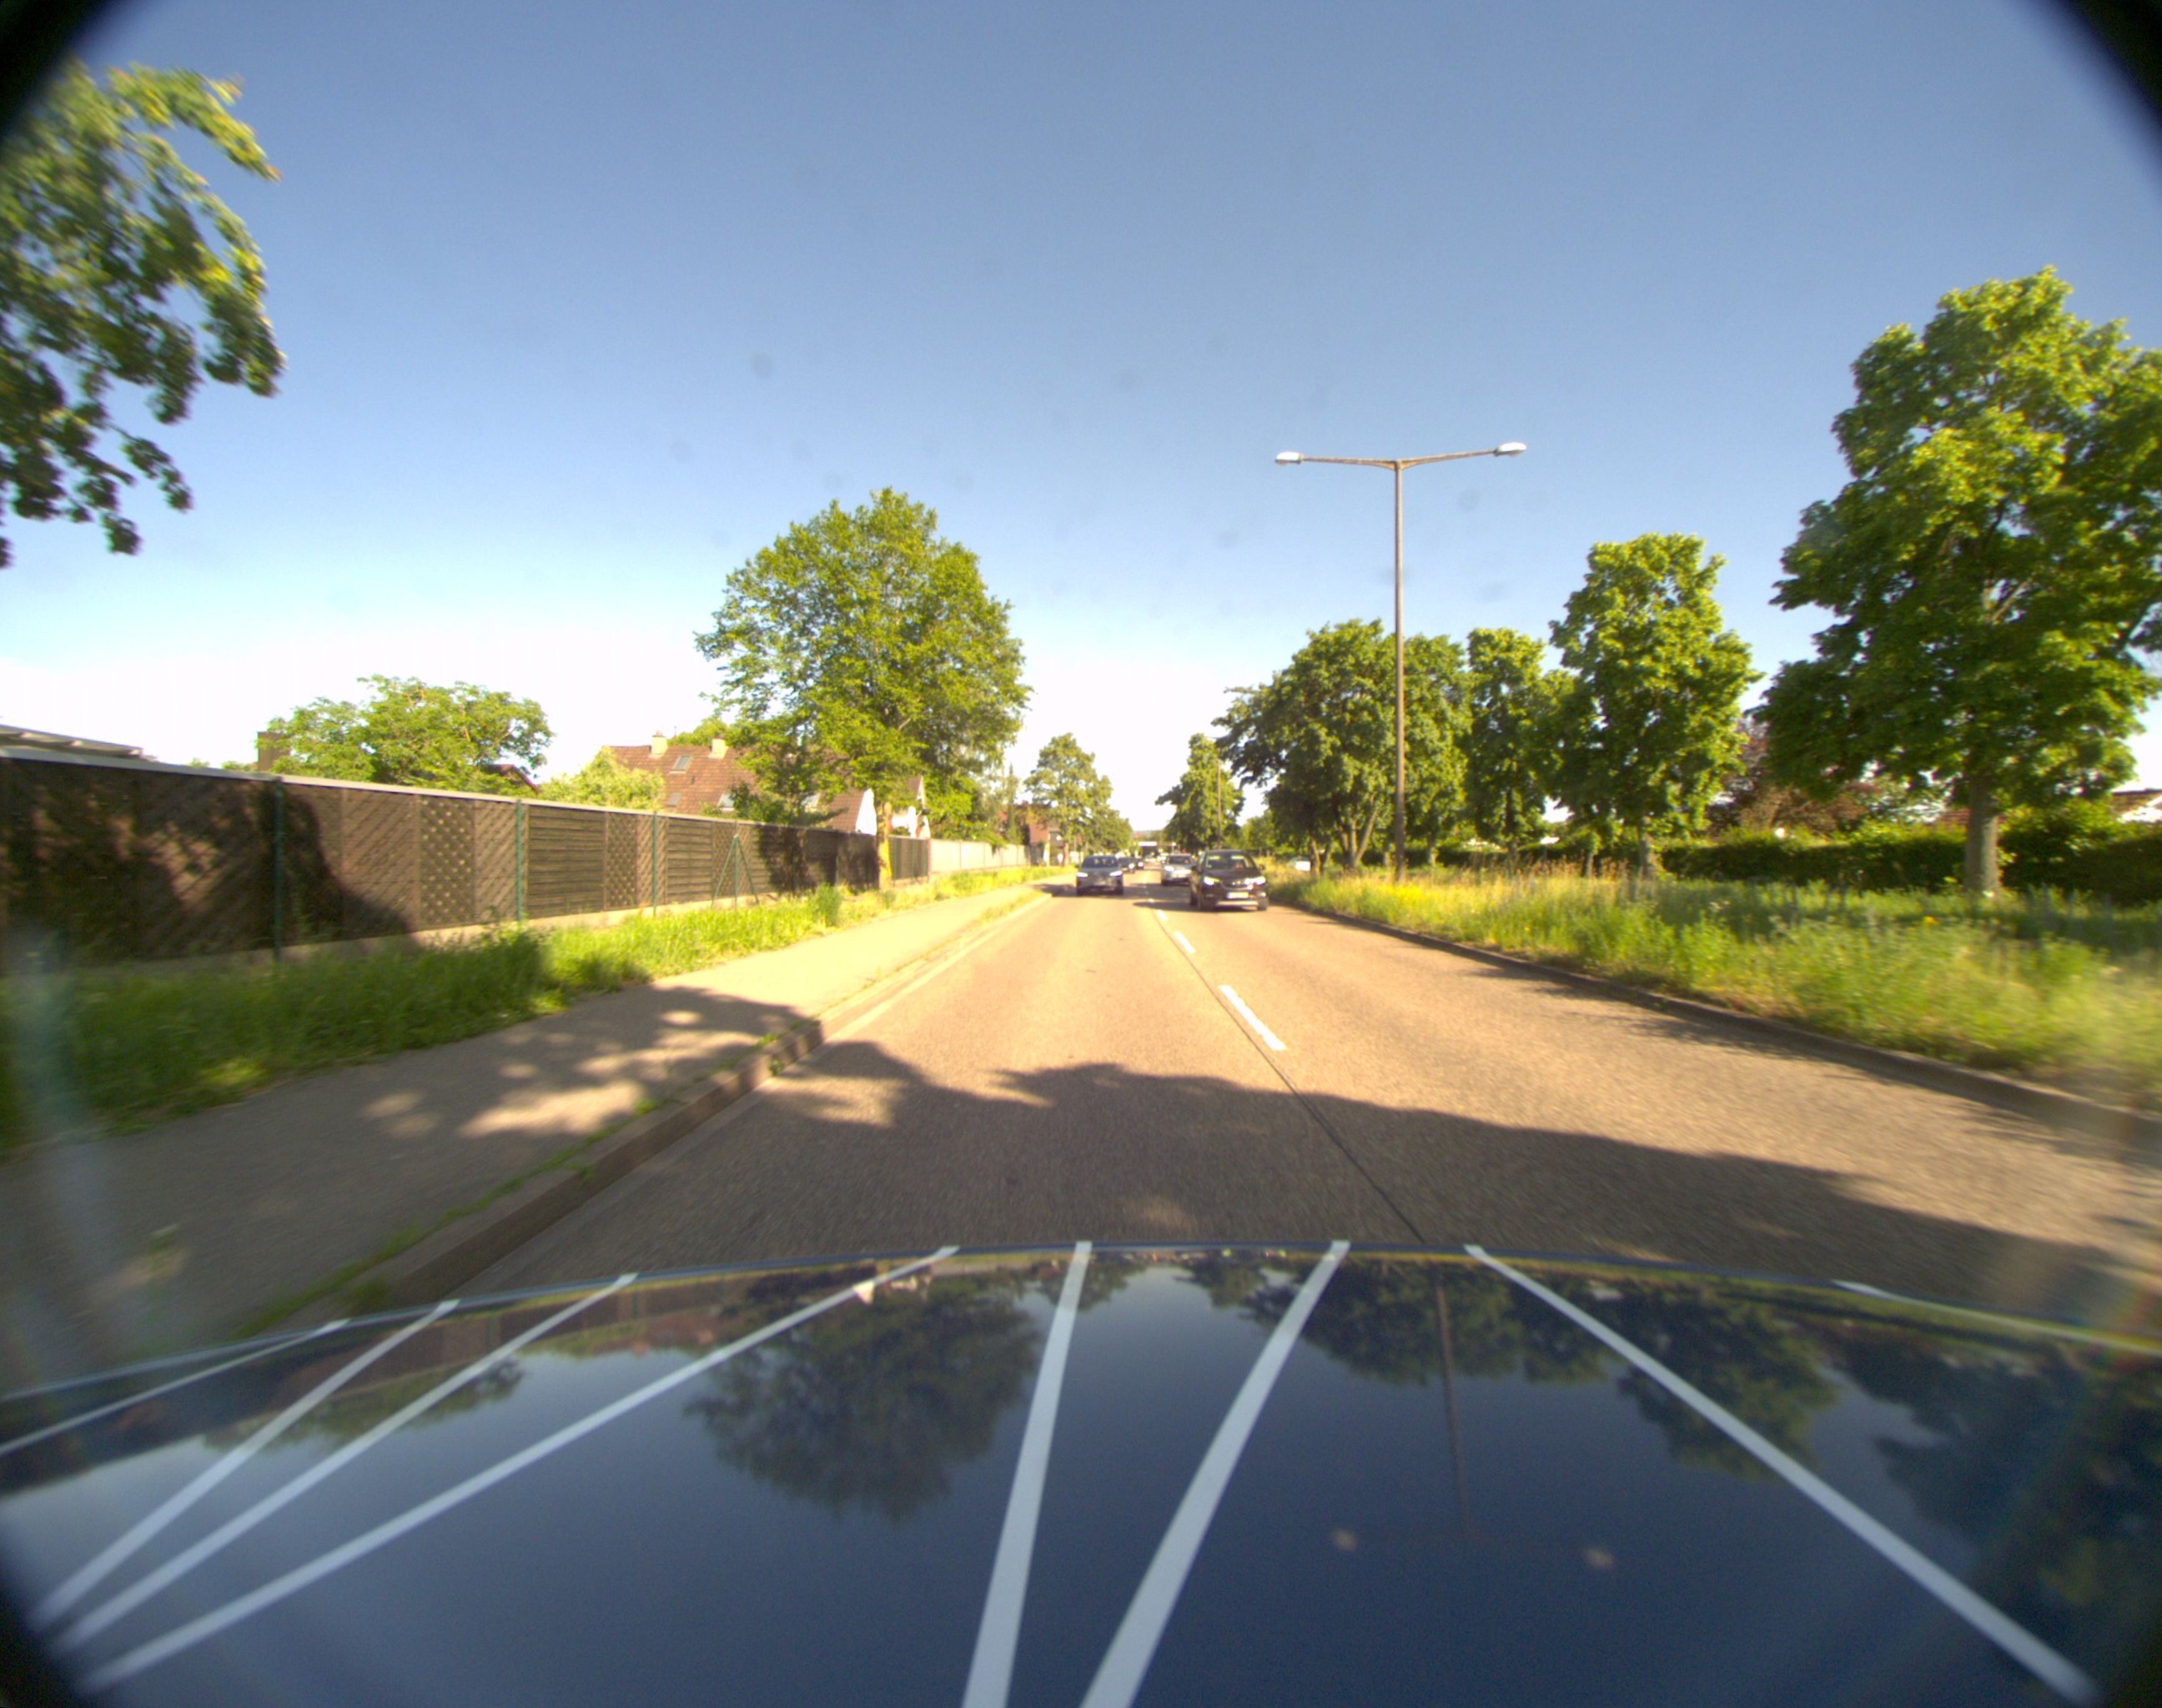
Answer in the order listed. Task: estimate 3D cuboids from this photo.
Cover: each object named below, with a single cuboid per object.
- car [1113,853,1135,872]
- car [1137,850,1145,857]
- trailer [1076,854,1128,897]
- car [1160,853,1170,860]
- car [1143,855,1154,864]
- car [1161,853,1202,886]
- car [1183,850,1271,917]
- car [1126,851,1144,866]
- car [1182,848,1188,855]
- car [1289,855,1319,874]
[{"bbox_3d":[3.923,0.766,68.386,1.823,1.553,4.273,-1,1,5],"label":"car"},{"bbox_3d":[17.052,-0.171,215.950,1.999,2.069,3.999,-2,0,0],"label":"car"},{"bbox_3d":[0.944,0.822,31.295,1.896,1.585,4.001,-2,0,4],"label":"trailer"},{"bbox_3d":[20.795,0.698,187.887,1.998,1.674,4.000,0,0,0],"label":"car"},{"bbox_3d":[13.835,1.153,155.806,1.998,1.674,4.000,0,0,0],"label":"car"},{"bbox_3d":[5.022,0.730,38.392,1.823,1.553,4.647,-1,0,5],"label":"car"},{"bbox_3d":[3.982,0.731,21.389,1.810,1.605,4.514,0,1,3],"label":"car"},{"bbox_3d":[6.191,0.537,87.210,1.822,1.587,4.274,-1,1,6],"label":"car"},{"bbox_3d":[30.226,-0.707,221.018,1.630,1.793,3.573,-1,0,3],"label":"car"},{"bbox_3d":[20.626,0.942,70.485,1.942,1.647,4.001,-2,0,6],"label":"car"}]
